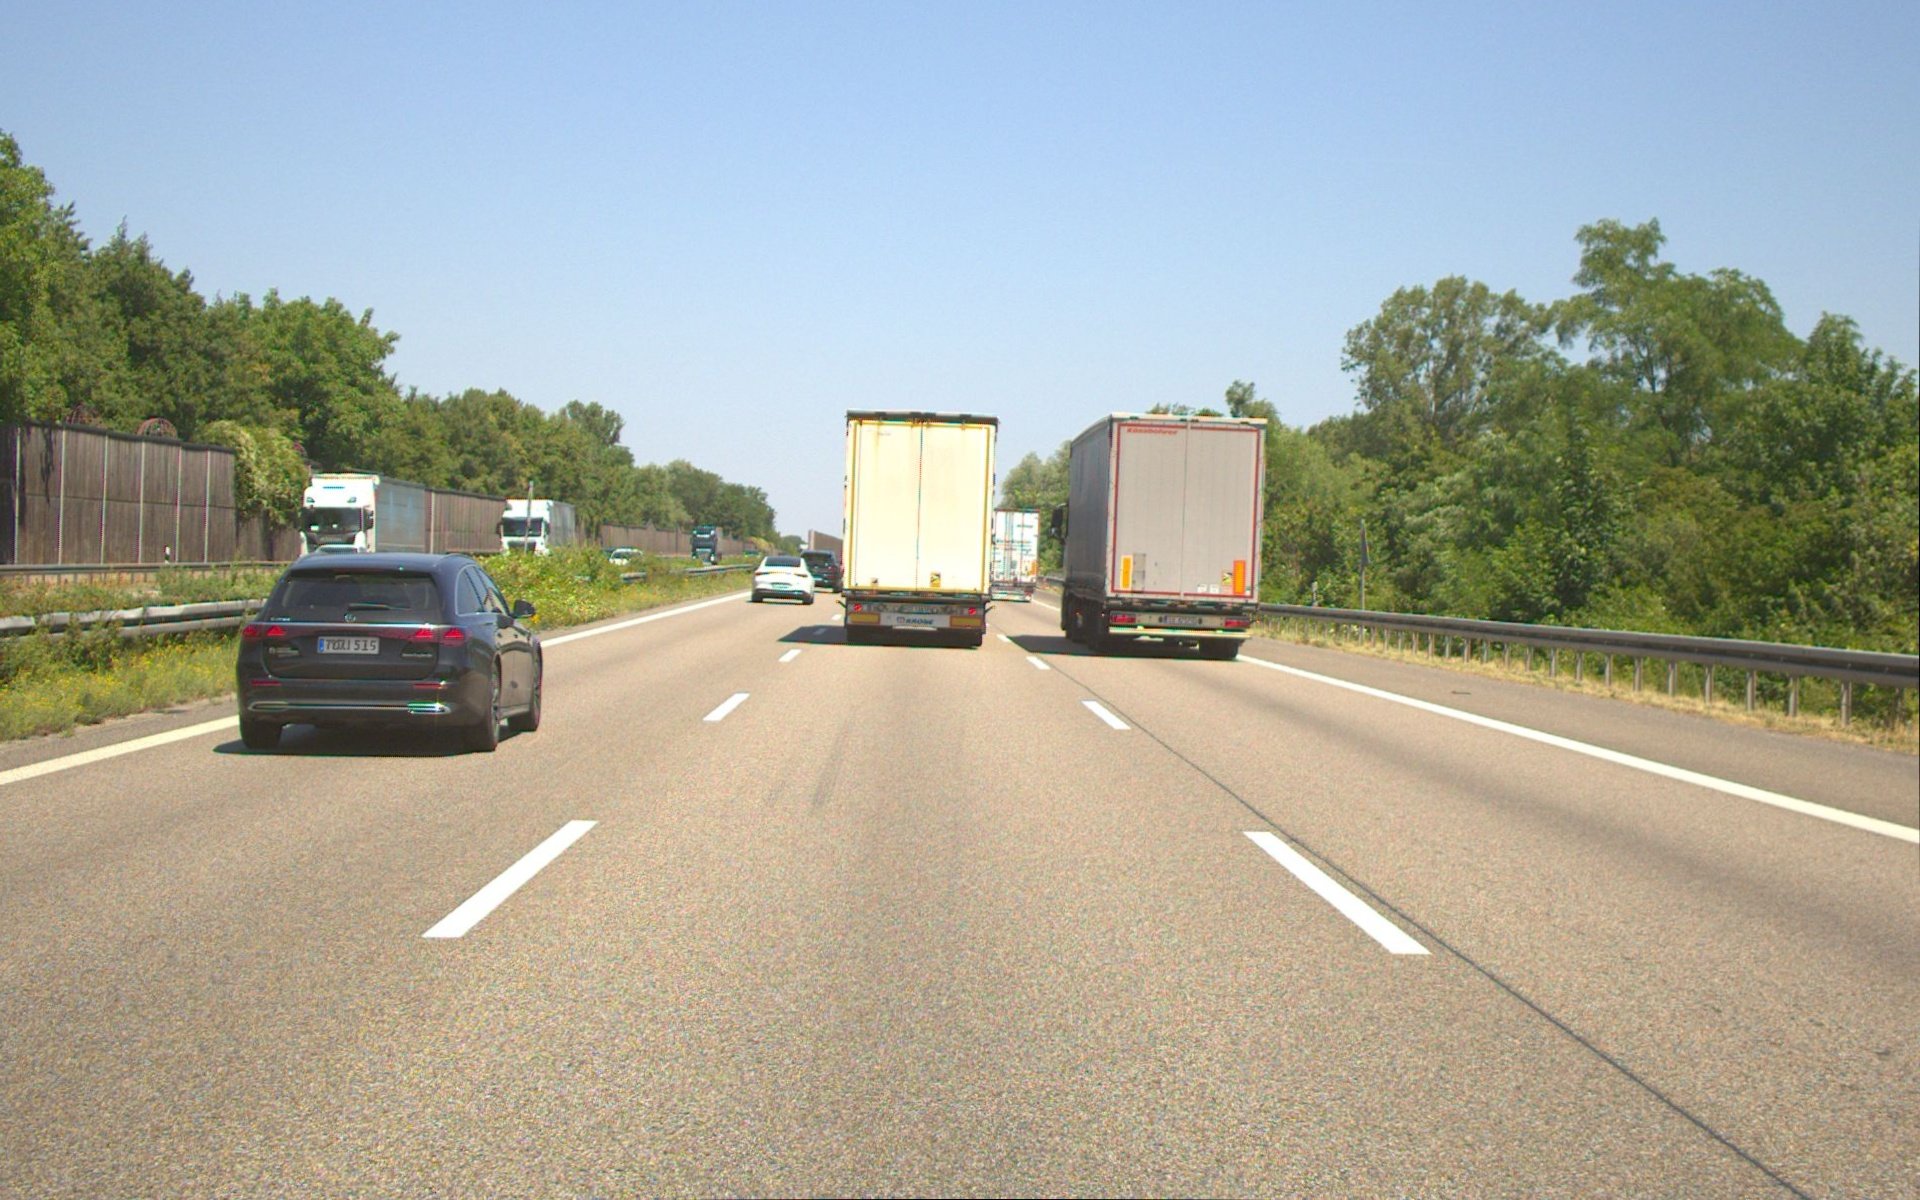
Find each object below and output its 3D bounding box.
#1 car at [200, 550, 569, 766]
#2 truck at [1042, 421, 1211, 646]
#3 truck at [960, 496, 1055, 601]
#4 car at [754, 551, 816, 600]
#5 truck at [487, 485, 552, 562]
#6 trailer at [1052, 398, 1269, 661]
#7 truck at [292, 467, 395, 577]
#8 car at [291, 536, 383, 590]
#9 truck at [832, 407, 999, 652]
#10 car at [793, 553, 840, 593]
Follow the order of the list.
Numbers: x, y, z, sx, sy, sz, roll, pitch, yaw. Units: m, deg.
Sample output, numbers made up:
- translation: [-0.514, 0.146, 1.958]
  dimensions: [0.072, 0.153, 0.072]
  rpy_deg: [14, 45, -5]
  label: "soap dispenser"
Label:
- translation: [-4.418, 0.369, 27.300]
  dimensions: [1.943, 1.501, 5.821]
  rpy_deg: [1, 1, 0]
  label: "car"
- translation: [3.259, -1.308, 69.234]
  dimensions: [2.691, 4.201, 7.839]
  rpy_deg: [2, 1, -2]
  label: "truck"
- translation: [2.027, -2.292, 152.630]
  dimensions: [3.374, 4.289, 11.451]
  rpy_deg: [4, 1, -2]
  label: "truck"
- translation: [-5.411, -0.780, 106.603]
  dimensions: [1.855, 1.481, 4.001]
  rpy_deg: [1, 1, -3]
  label: "car"
- translation: [-24.668, -4.272, 192.887]
  dimensions: [2.833, 4.169, 7.143]
  rpy_deg: [1, 0, -1]
  label: "truck"
- translation: [3.446, -1.217, 62.546]
  dimensions: [2.703, 4.201, 13.213]
  rpy_deg: [2, 1, -2]
  label: "trailer"
- translation: [-23.324, -2.914, 130.393]
  dimensions: [2.757, 4.008, 6.735]
  rpy_deg: [2, 1, -2]
  label: "truck"
- translation: [-18.798, -1.123, 103.927]
  dimensions: [1.993, 1.585, 4.493]
  rpy_deg: [1, 1, -1]
  label: "car"
- translation: [-0.932, -1.271, 64.879]
  dimensions: [2.707, 4.072, 13.475]
  rpy_deg: [2, 1, -2]
  label: "truck"
- translation: [-5.932, -1.142, 141.950]
  dimensions: [1.855, 1.611, 4.001]
  rpy_deg: [1, 1, -3]
  label: "car"
